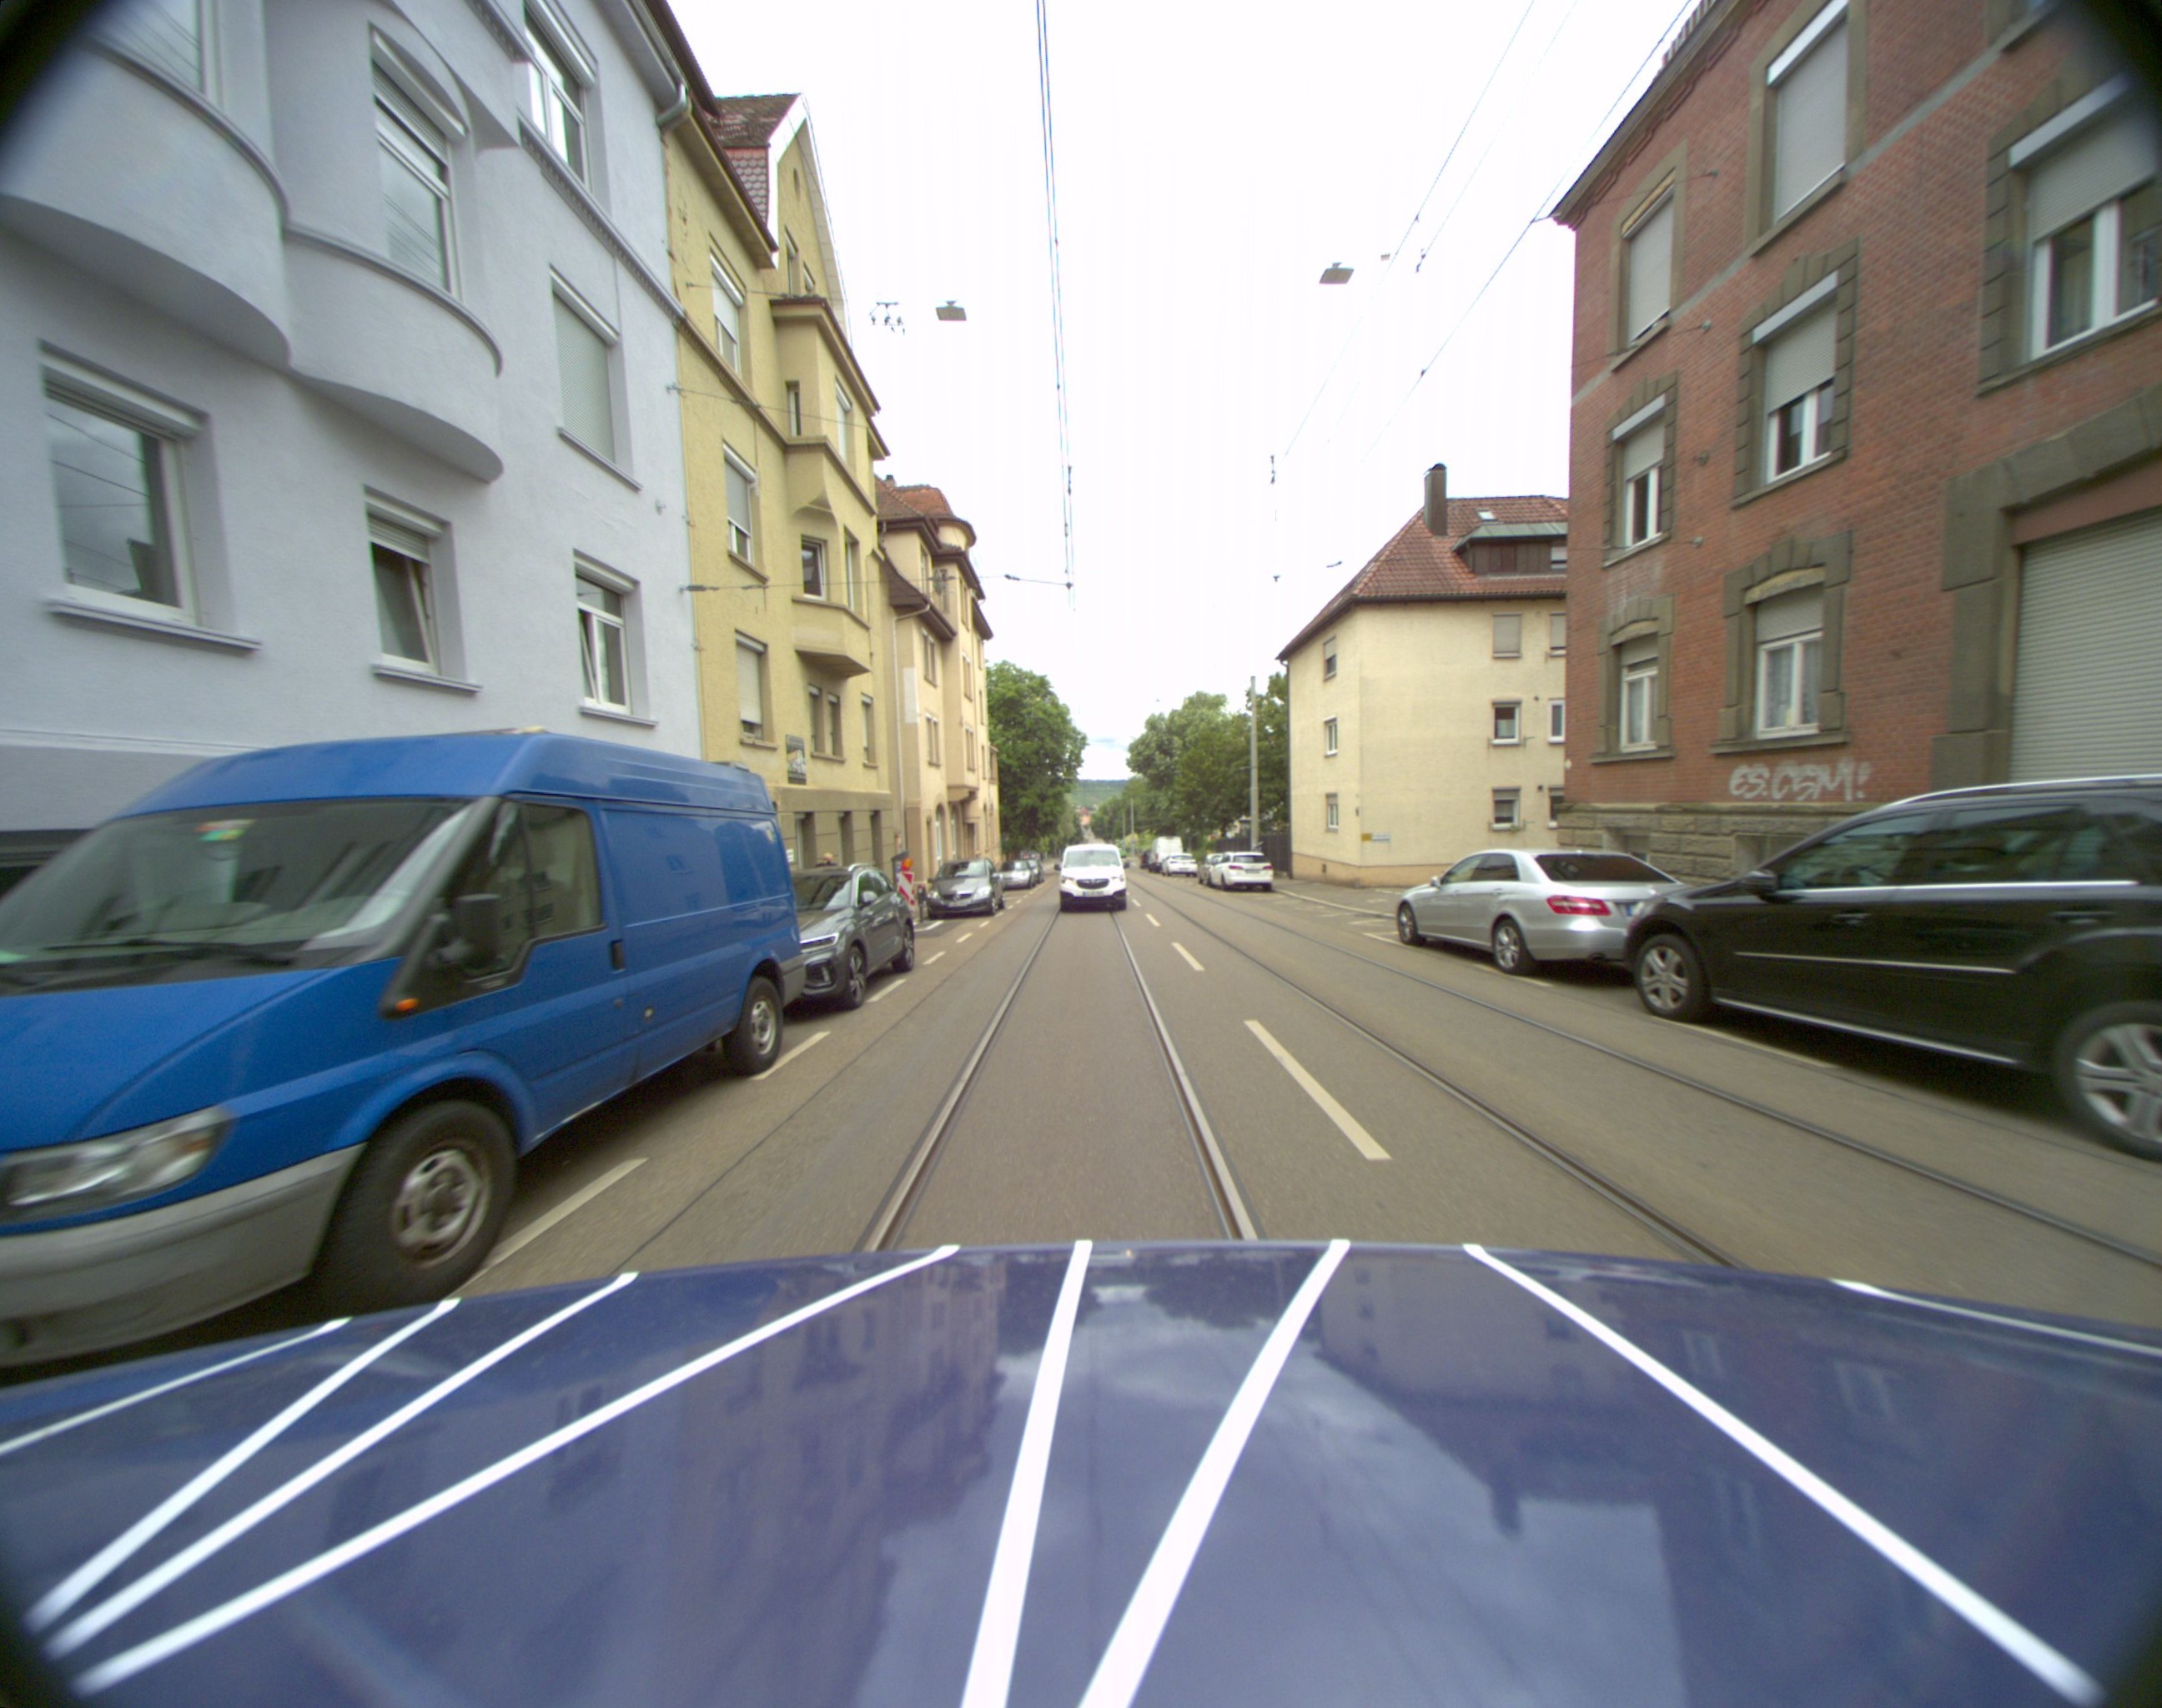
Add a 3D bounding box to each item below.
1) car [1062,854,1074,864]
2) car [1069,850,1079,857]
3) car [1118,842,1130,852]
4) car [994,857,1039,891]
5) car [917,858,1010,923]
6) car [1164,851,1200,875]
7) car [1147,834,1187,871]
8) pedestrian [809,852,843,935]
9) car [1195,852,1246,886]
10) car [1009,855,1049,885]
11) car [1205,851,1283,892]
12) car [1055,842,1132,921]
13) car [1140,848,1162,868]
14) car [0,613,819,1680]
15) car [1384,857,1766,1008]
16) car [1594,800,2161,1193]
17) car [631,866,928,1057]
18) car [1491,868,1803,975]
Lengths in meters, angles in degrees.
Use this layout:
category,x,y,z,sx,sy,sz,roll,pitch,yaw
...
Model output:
category,x,y,z,sx,sy,sz,roll,pitch,yaw
car,-2.133,0.804,125.700,1.863,1.434,4.388,-5,1,1
car,-1.423,-0.087,155.167,1.822,1.345,3.940,-4,0,2
car,7.439,-1.217,132.213,1.856,1.532,3.948,-2,0,1
car,-3.058,0.935,36.607,1.699,1.396,3.667,-4,0,1
car,-3.210,0.948,21.609,1.832,1.510,4.028,-4,0,1
car,6.188,0.516,46.980,1.723,1.395,4.313,1,0,1
car,6.393,-0.149,56.993,2.164,2.591,6.218,1,0,-1
pedestrian,-5.311,0.816,15.817,0.542,1.673,0.516,2,3,-8
car,6.151,0.626,33.865,1.604,1.360,3.807,2,0,2
car,-2.858,0.880,42.885,1.844,1.395,4.166,-4,1,1
car,6.126,0.607,29.084,1.832,1.420,4.626,2,0,-1
car,0.379,0.624,20.377,1.759,1.824,4.448,-2,1,2
car,6.522,0.311,71.584,1.766,1.765,4.668,2,1,2
car,-3.388,0.627,4.143,1.998,2.363,5.055,-2,1,1
car,5.723,0.762,9.753,1.832,1.421,4.839,0,0,1
car,5.645,0.619,4.599,1.832,1.708,4.913,0,0,1
car,-3.246,1.041,9.210,1.784,1.522,4.191,-5,1,0
car,12.133,1.396,16.576,5.186,1.808,1.941,4,1,1
